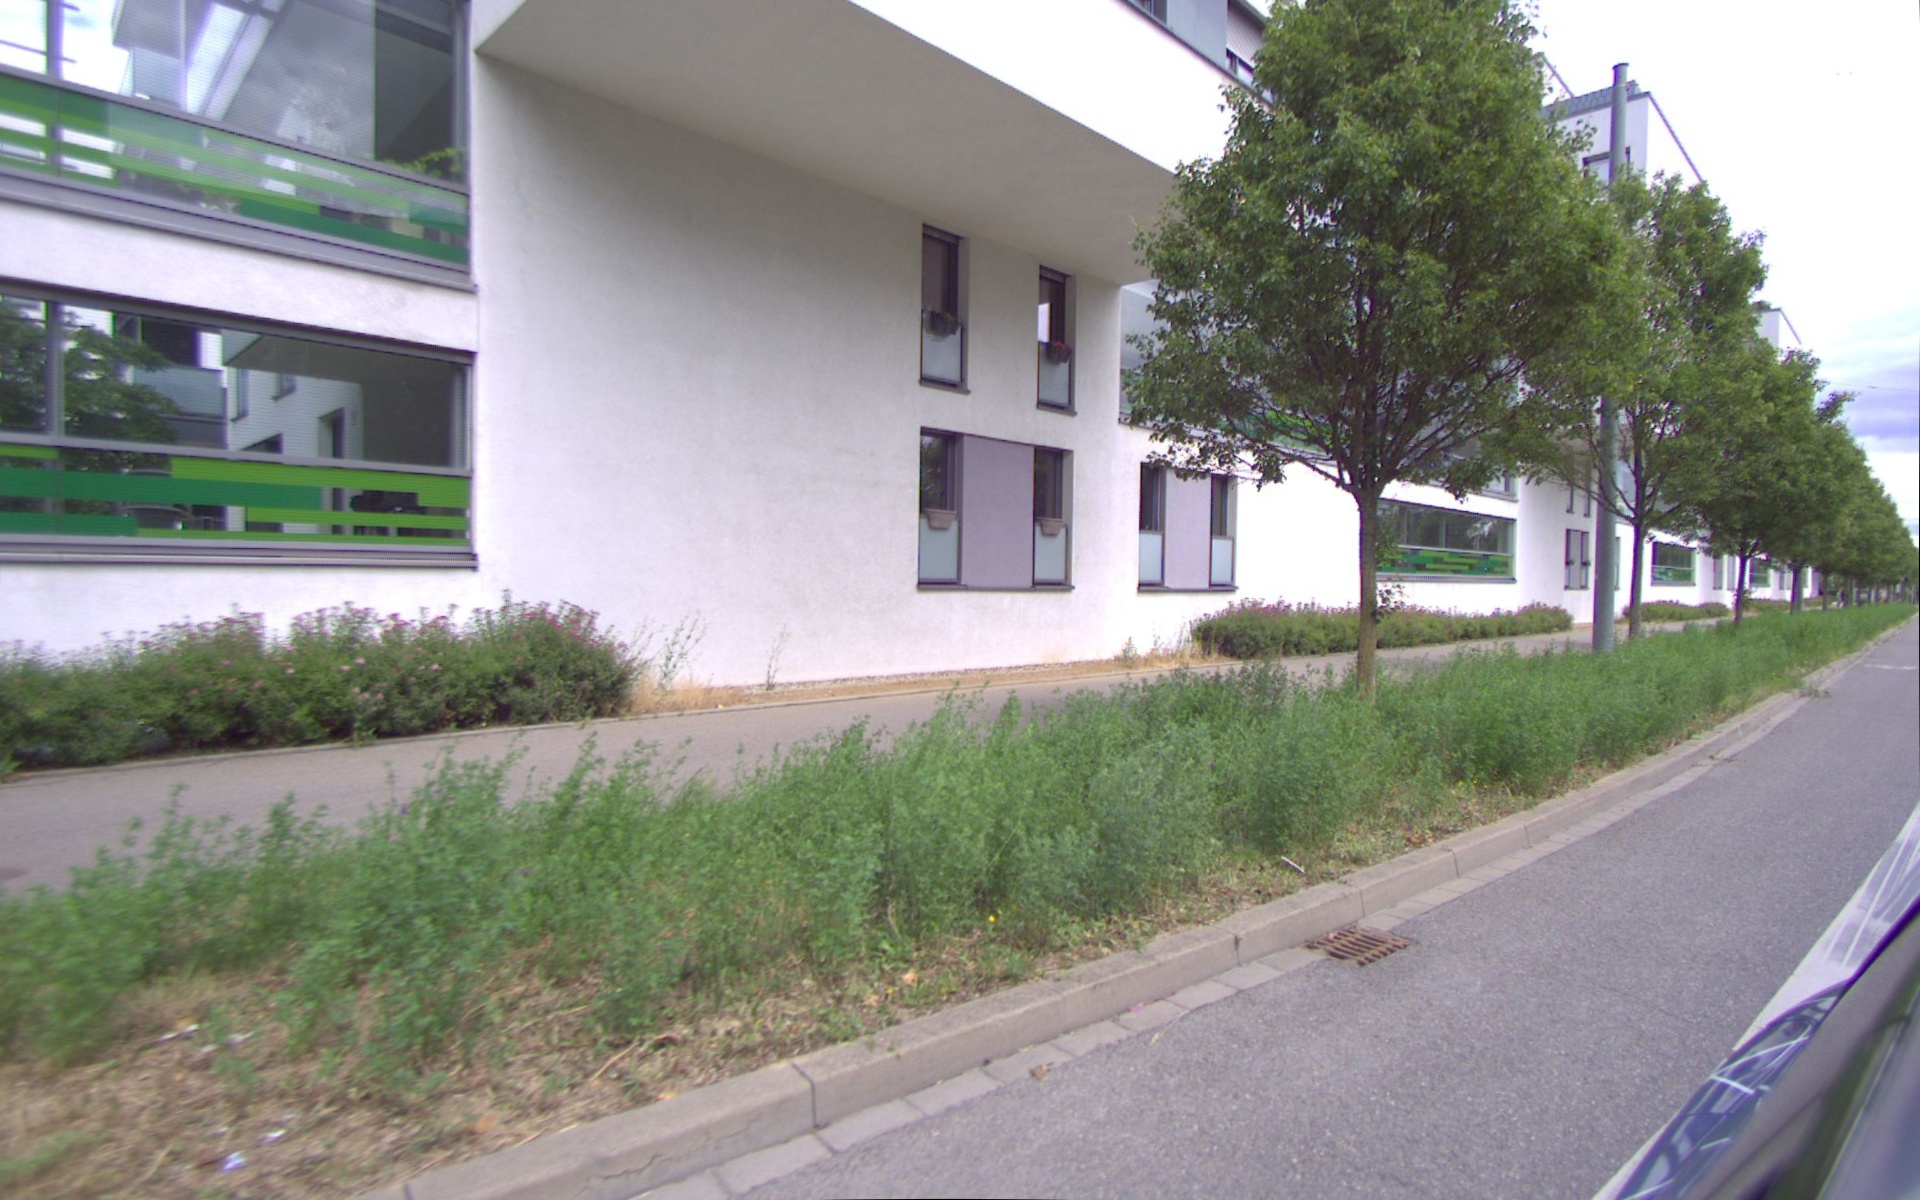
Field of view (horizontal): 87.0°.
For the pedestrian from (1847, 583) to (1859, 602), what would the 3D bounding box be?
[{"bbox_3d":[85.991,-0.714,97.447,0.612,1.864,0.585,-1,0,18],"label":"pedestrian"}]
